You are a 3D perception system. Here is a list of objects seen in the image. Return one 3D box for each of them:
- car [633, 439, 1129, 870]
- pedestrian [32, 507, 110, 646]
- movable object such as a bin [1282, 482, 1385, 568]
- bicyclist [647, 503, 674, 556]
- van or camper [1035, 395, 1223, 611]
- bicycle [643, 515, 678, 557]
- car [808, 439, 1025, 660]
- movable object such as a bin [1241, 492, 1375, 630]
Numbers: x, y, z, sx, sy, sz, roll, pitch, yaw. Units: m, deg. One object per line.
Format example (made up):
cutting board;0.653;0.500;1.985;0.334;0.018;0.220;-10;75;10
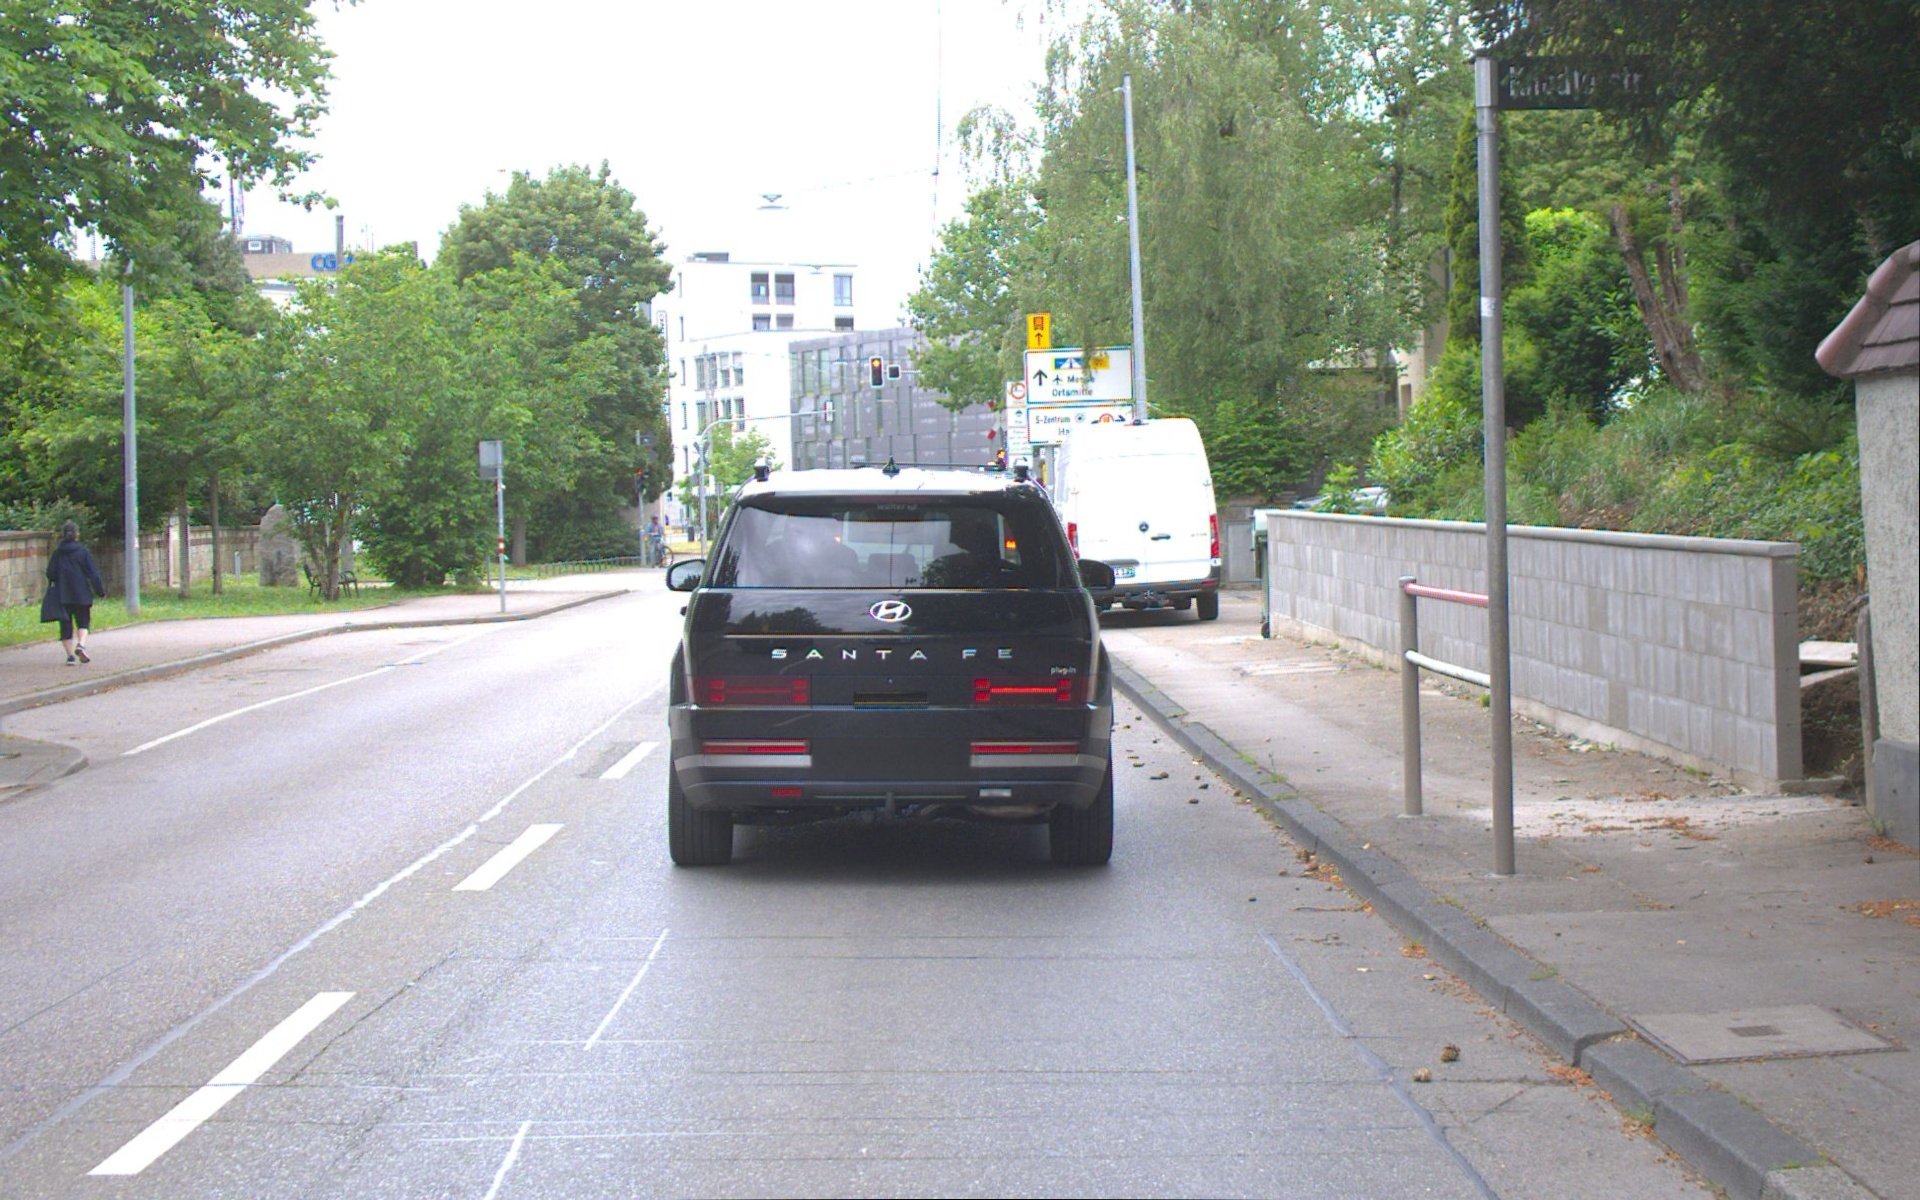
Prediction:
car;-0.329;0.163;15.660;1.963;1.705;4.000;0;2;0
pedestrian;-10.165;-0.279;39.345;0.748;1.572;0.967;0;2;-7
movable object such as a bin;6.460;-1.303;59.593;1.449;1.468;1.718;0;2;-6
bicyclist;-9.411;-2.213;108.003;0.675;1.653;0.859;0;0;-14
van or camper;2.200;-1.316;46.555;1.963;2.618;6.359;-3;2;-1
bicycle;-9.406;-1.994;107.975;0.675;1.275;2.502;0;0;-14
car;-0.441;-0.512;33.214;1.963;1.994;4.001;0;2;-1
movable object such as a bin;3.805;-0.439;37.704;1.299;1.445;1.181;-2;1;0
